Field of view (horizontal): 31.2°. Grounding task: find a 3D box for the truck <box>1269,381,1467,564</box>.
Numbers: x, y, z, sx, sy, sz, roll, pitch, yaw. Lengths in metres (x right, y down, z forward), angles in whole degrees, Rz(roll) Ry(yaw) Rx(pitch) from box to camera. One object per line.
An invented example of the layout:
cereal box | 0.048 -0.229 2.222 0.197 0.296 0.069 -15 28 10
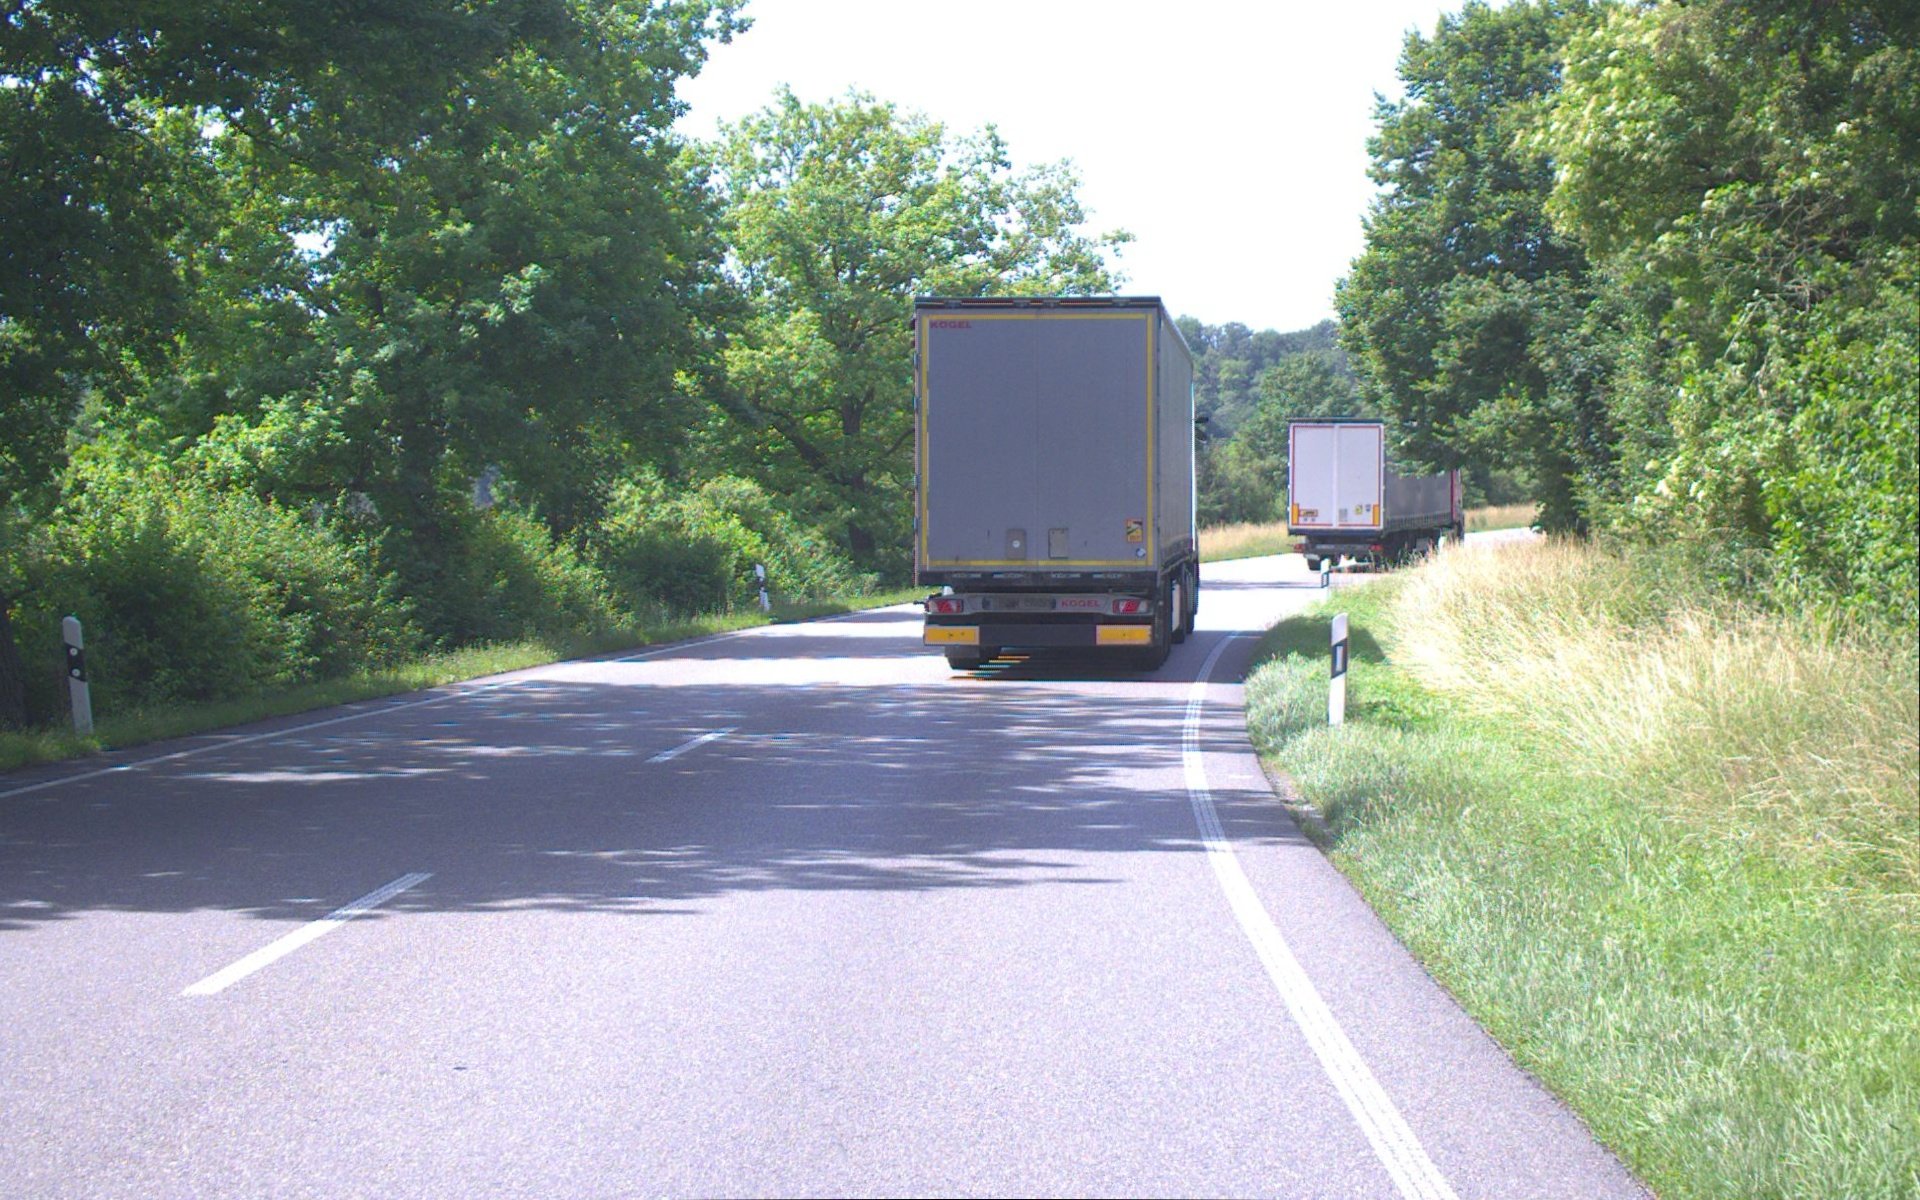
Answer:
truck | 11.759 -3.580 97.172 3.107 4.689 16.578 -1 2 15

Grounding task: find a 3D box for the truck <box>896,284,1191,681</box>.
truck | 1.361 -1.448 43.002 2.802 4.054 15.324 1 2 5
